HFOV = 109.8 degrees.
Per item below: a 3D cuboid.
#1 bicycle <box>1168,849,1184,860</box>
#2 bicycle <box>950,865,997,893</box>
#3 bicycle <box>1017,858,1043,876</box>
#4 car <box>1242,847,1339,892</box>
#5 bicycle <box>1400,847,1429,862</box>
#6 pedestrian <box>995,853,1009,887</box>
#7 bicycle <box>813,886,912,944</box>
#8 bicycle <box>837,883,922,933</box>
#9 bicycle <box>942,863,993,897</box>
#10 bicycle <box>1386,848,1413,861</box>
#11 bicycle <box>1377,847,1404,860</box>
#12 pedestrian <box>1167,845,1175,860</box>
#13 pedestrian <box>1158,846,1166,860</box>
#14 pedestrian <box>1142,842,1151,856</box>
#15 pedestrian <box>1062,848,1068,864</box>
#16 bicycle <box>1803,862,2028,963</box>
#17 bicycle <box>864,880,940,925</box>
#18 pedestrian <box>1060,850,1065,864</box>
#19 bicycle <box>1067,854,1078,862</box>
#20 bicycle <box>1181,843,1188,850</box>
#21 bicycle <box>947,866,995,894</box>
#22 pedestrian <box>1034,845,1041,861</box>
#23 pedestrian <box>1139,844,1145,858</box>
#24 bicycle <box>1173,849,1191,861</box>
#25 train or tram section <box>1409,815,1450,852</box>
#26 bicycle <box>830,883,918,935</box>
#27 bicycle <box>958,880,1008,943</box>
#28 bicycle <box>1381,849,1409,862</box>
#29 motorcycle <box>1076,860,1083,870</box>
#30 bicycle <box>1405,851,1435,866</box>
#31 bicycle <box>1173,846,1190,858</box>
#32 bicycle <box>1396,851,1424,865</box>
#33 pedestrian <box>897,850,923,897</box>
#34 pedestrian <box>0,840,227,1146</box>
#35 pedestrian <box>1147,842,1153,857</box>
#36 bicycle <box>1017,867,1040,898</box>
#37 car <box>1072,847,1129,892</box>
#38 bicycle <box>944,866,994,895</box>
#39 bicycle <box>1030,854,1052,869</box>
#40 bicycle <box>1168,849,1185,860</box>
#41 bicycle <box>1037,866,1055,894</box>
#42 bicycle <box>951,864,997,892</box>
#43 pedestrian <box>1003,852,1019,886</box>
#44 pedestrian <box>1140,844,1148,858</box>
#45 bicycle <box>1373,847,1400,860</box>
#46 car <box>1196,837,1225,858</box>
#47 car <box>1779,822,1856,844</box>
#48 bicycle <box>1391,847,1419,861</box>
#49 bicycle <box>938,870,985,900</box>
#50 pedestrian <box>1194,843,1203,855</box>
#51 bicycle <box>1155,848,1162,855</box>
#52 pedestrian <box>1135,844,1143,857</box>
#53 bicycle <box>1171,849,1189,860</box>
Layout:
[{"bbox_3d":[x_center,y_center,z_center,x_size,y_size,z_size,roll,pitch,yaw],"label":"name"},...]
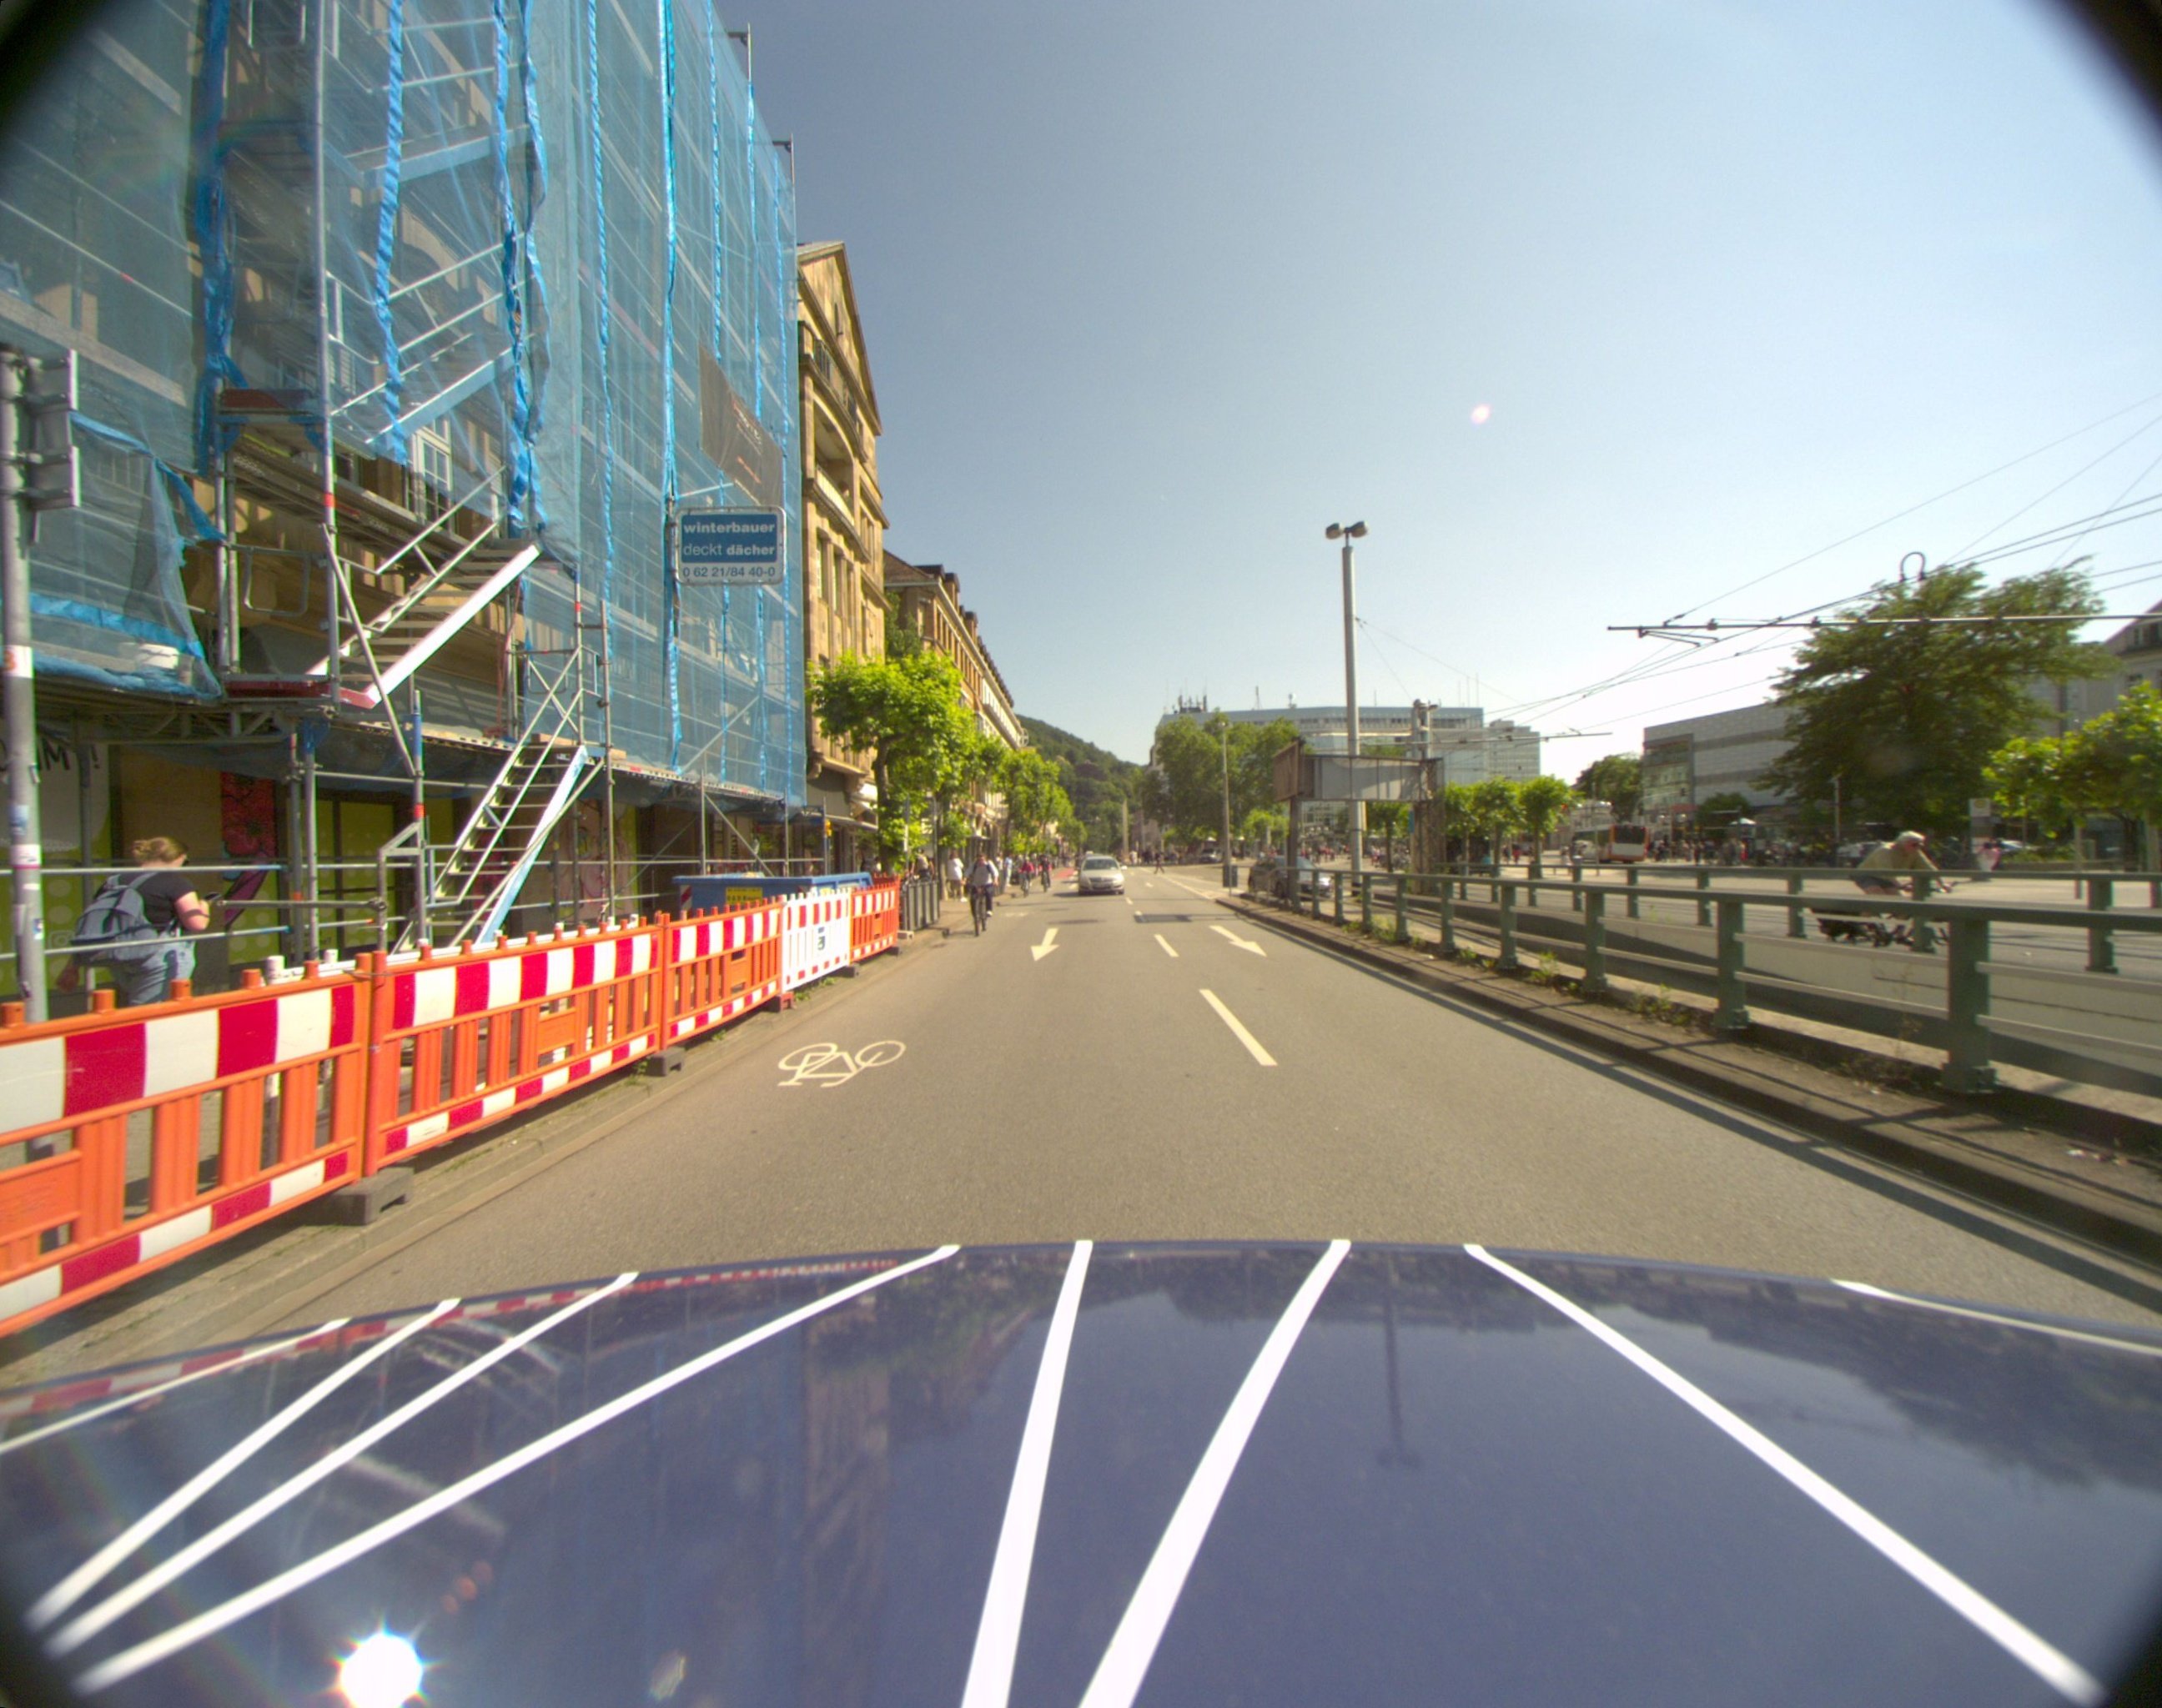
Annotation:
[{"bbox_3d":[10.684,0.020,85.309,1.757,1.140,0.483,-3,1,-1],"label":"bicycle"},{"bbox_3d":[-4.273,0.995,30.262,1.757,1.012,0.483,-3,1,-1],"label":"bicycle"},{"bbox_3d":[-3.575,0.922,53.407,1.757,1.141,0.483,-3,2,-1],"label":"bicycle"},{"bbox_3d":[7.174,0.495,26.458,1.701,1.397,3.996,1,0,-10],"label":"car"},{"bbox_3d":[23.370,0.040,53.236,1.871,0.865,0.581,-4,1,-12],"label":"bicycle"},{"bbox_3d":[-3.733,0.748,35.742,0.601,1.617,0.643,0,1,-9],"label":"pedestrian"},{"bbox_3d":[-4.307,1.197,15.046,1.757,1.012,0.483,-3,1,-1],"label":"bicycle"},{"bbox_3d":[-4.577,1.221,17.326,1.757,1.012,0.483,-3,1,-1],"label":"bicycle"},{"bbox_3d":[-4.230,0.970,28.377,1.757,1.174,0.579,-3,1,-1],"label":"bicycle"},{"bbox_3d":[23.626,0.029,56.369,1.871,0.851,0.546,-4,1,-12],"label":"bicycle"},{"bbox_3d":[23.536,-0.061,57.767,1.871,0.867,0.583,-4,1,-12],"label":"bicycle"},{"bbox_3d":[10.461,-0.194,88.412,0.643,1.682,0.642,-5,1,-12],"label":"pedestrian"},{"bbox_3d":[10.377,-0.185,97.145,0.751,1.737,0.666,-4,1,0],"label":"pedestrian"},{"bbox_3d":[7.902,-0.582,91.721,0.630,1.639,0.753,-4,2,27],"label":"pedestrian"},{"bbox_3d":[-1.887,0.253,91.632,0.578,1.835,0.717,-4,1,-2],"label":"pedestrian"},{"bbox_3d":[10.528,0.686,9.716,0.819,1.114,1.874,0,1,1],"label":"bicycle"},{"bbox_3d":[-4.480,1.219,19.076,1.757,1.012,0.483,-3,1,-1],"label":"bicycle"},{"bbox_3d":[-2.317,0.389,95.229,0.578,1.775,0.699,-2,1,-2],"label":"pedestrian"},{"bbox_3d":[-1.398,0.661,127.879,1.757,1.140,0.592,-3,1,-1],"label":"bicycle"},{"bbox_3d":[17.484,-1.235,128.262,0.592,1.140,1.757,-3,1,-6],"label":"bicycle"},{"bbox_3d":[-4.283,0.993,29.653,1.757,1.012,0.587,-2,1,-2],"label":"bicycle"},{"bbox_3d":[-4.963,-0.089,86.502,0.635,1.783,0.776,-4,1,-1],"label":"pedestrian"},{"bbox_3d":[7.725,-0.378,97.011,0.612,1.737,0.752,-3,1,0],"label":"pedestrian"},{"bbox_3d":[10.687,0.075,80.255,1.757,1.140,0.483,-3,1,-1],"label":"bicycle"},{"bbox_3d":[41.031,-2.508,89.227,2.615,3.805,9.534,-3,1,35],"label":"train or tram section"},{"bbox_3d":[-4.563,1.211,16.785,1.757,1.012,0.483,-3,1,-1],"label":"bicycle"},{"bbox_3d":[-2.023,1.171,15.956,0.736,1.086,1.897,-4,1,0],"label":"bicycle"},{"bbox_3d":[23.542,0.129,56.964,1.871,0.851,0.546,-4,1,-12],"label":"bicycle"},{"bbox_3d":[-0.137,1.248,88.406,0.736,1.086,1.897,-4,1,1],"label":"motorcycle"},{"bbox_3d":[23.521,0.317,52.688,1.871,0.865,0.581,-4,1,-12],"label":"bicycle"},{"bbox_3d":[10.656,-0.219,80.732,1.757,1.140,0.483,-3,1,-1],"label":"bicycle"},{"bbox_3d":[23.786,0.264,54.914,1.871,0.865,0.581,-4,1,-12],"label":"bicycle"},{"bbox_3d":[-6.752,0.764,30.029,0.669,1.771,0.985,-2,2,5],"label":"pedestrian"},{"bbox_3d":[-6.155,0.816,4.784,0.641,1.766,0.649,-4,1,1],"label":"pedestrian"},{"bbox_3d":[8.375,-0.575,92.453,0.517,1.825,0.716,-4,1,9],"label":"pedestrian"},{"bbox_3d":[-2.051,1.110,29.863,0.736,1.086,1.819,-4,0,0],"label":"bicycle"},{"bbox_3d":[0.746,0.530,28.728,1.918,1.401,4.000,-4,1,2],"label":"car"},{"bbox_3d":[-4.266,1.008,28.980,1.757,1.012,0.557,-3,1,-1],"label":"bicycle"},{"bbox_3d":[-3.415,0.656,65.052,1.757,1.140,0.483,-3,1,-1],"label":"bicycle"},{"bbox_3d":[10.454,0.065,83.449,1.757,1.140,0.483,-3,1,-1],"label":"bicycle"},{"bbox_3d":[-1.526,1.115,33.388,0.667,1.086,1.897,-4,1,-1],"label":"bicycle"},{"bbox_3d":[-4.341,0.976,30.882,1.757,1.012,0.483,-3,1,-1],"label":"bicycle"},{"bbox_3d":[-3.405,0.738,37.083,0.697,1.617,0.701,-1,1,-8],"label":"pedestrian"},{"bbox_3d":[7.700,-0.366,93.485,0.537,1.773,0.744,-3,2,36],"label":"pedestrian"},{"bbox_3d":[23.450,-0.025,58.377,1.871,0.851,0.546,-4,1,-12],"label":"bicycle"},{"bbox_3d":[14.676,-0.753,85.982,1.996,2.002,5.073,-4,1,22],"label":"car"},{"bbox_3d":[55.849,-1.560,57.738,1.760,1.499,3.998,-4,1,-5],"label":"car"},{"bbox_3d":[23.671,-0.015,55.583,1.871,0.851,0.546,-4,1,-12],"label":"bicycle"},{"bbox_3d":[-4.286,1.106,27.228,1.753,1.012,0.659,-2,2,41],"label":"bicycle"},{"bbox_3d":[14.305,-0.600,92.557,0.752,1.399,0.782,-4,1,-9],"label":"pedestrian"},{"bbox_3d":[12.809,-0.400,125.362,0.729,1.137,1.914,-4,1,15],"label":"bicycle"},{"bbox_3d":[7.748,-0.452,101.455,0.876,1.737,0.733,-4,1,0],"label":"pedestrian"},{"bbox_3d":[10.633,0.077,81.769,1.865,1.140,0.483,-3,1,-1],"label":"bicycle"}]
